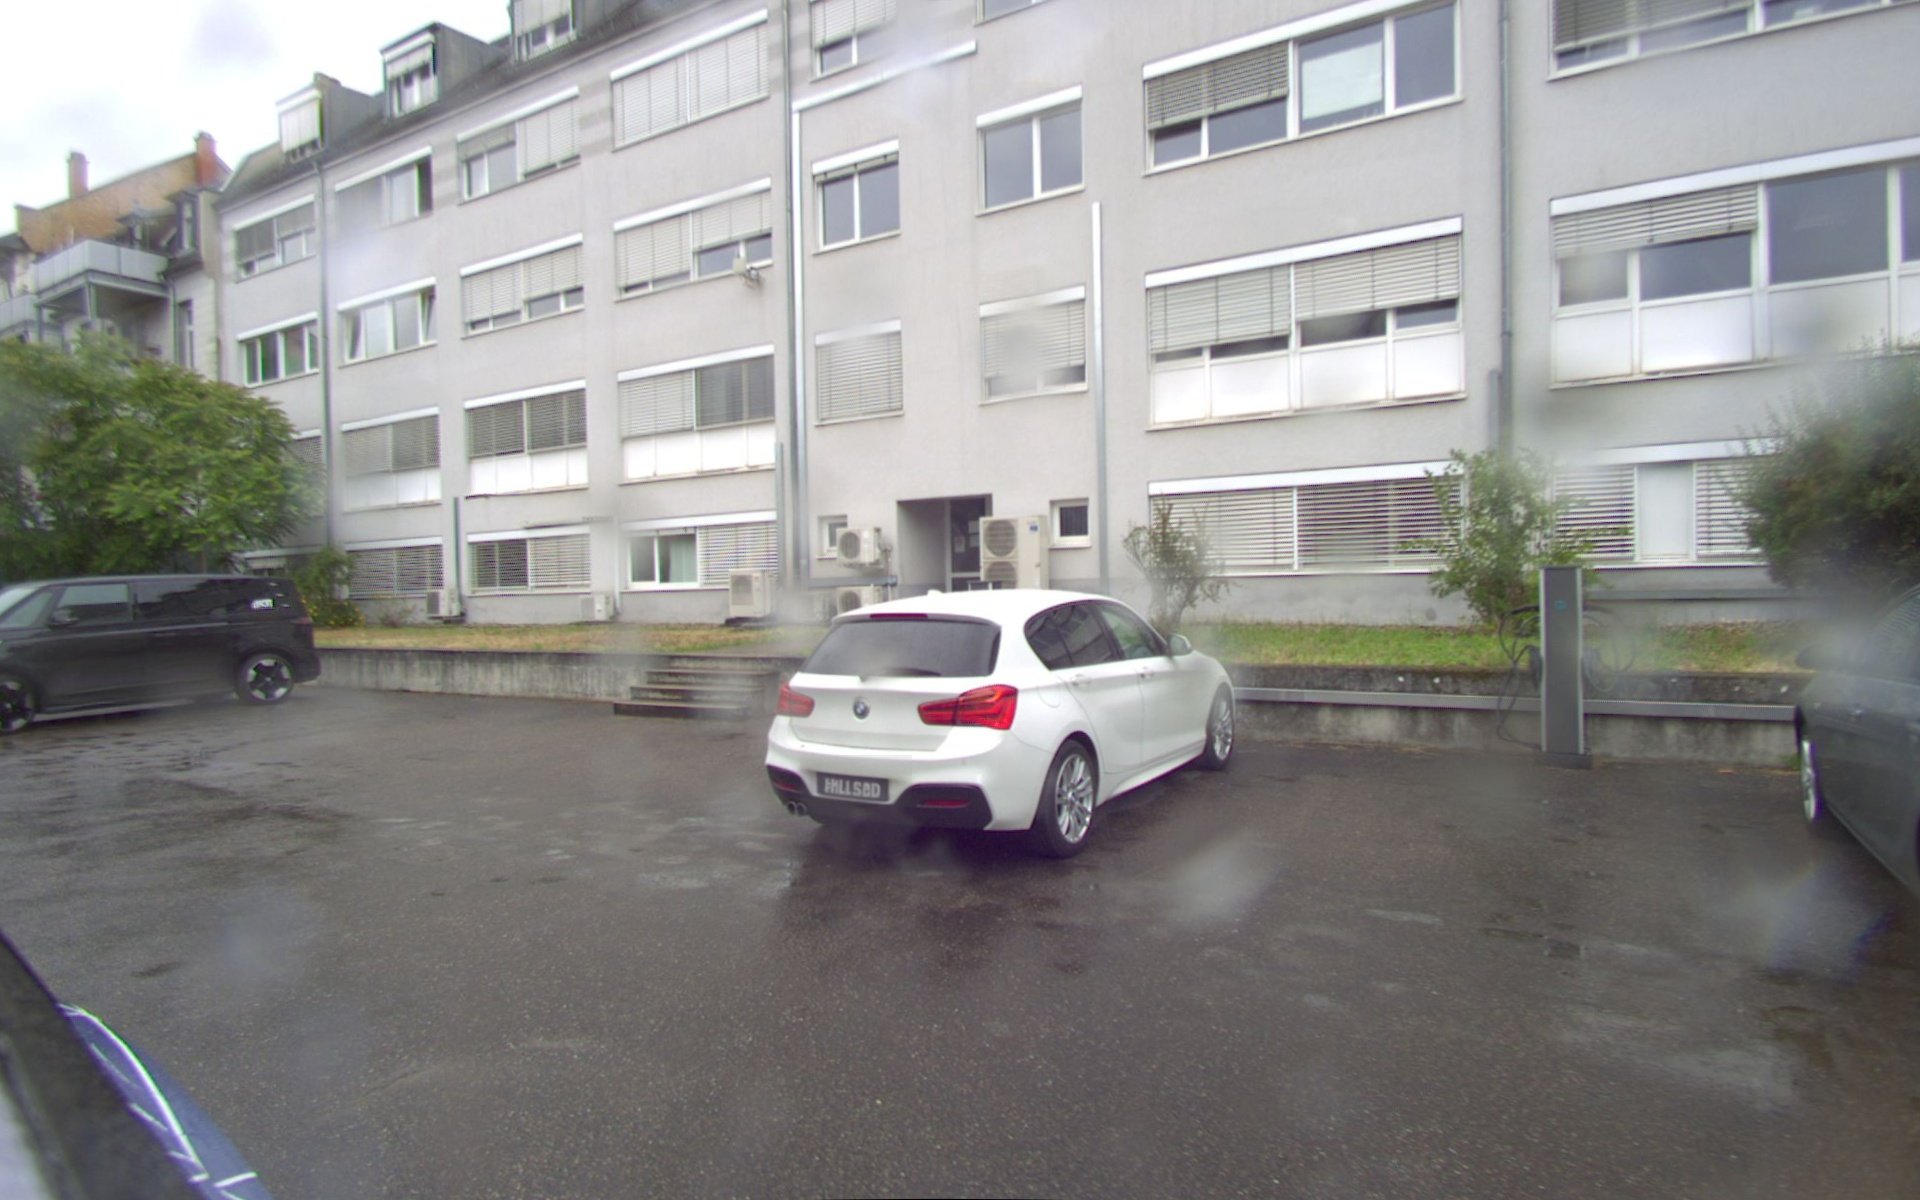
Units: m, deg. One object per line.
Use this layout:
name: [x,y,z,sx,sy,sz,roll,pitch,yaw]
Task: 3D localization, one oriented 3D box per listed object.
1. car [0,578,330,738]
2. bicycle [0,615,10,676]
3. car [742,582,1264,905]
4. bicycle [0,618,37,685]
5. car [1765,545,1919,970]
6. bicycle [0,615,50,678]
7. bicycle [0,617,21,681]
car: [-11.410,0.690,13.606,1.980,1.850,4.586,-2,0,29]
bicycle: [-20.000,0.938,19.559,0.642,1.195,2.292,2,2,36]
car: [0.622,0.627,6.813,1.747,1.444,4.109,-1,1,31]
bicycle: [-18.401,0.989,18.420,0.642,1.195,2.292,2,2,36]
car: [4.601,0.512,3.873,1.816,1.495,4.135,-2,0,31]
bicycle: [-19.297,0.939,19.670,0.642,1.195,2.292,2,2,36]
bicycle: [-19.086,0.969,18.832,0.642,1.195,2.292,2,2,36]
